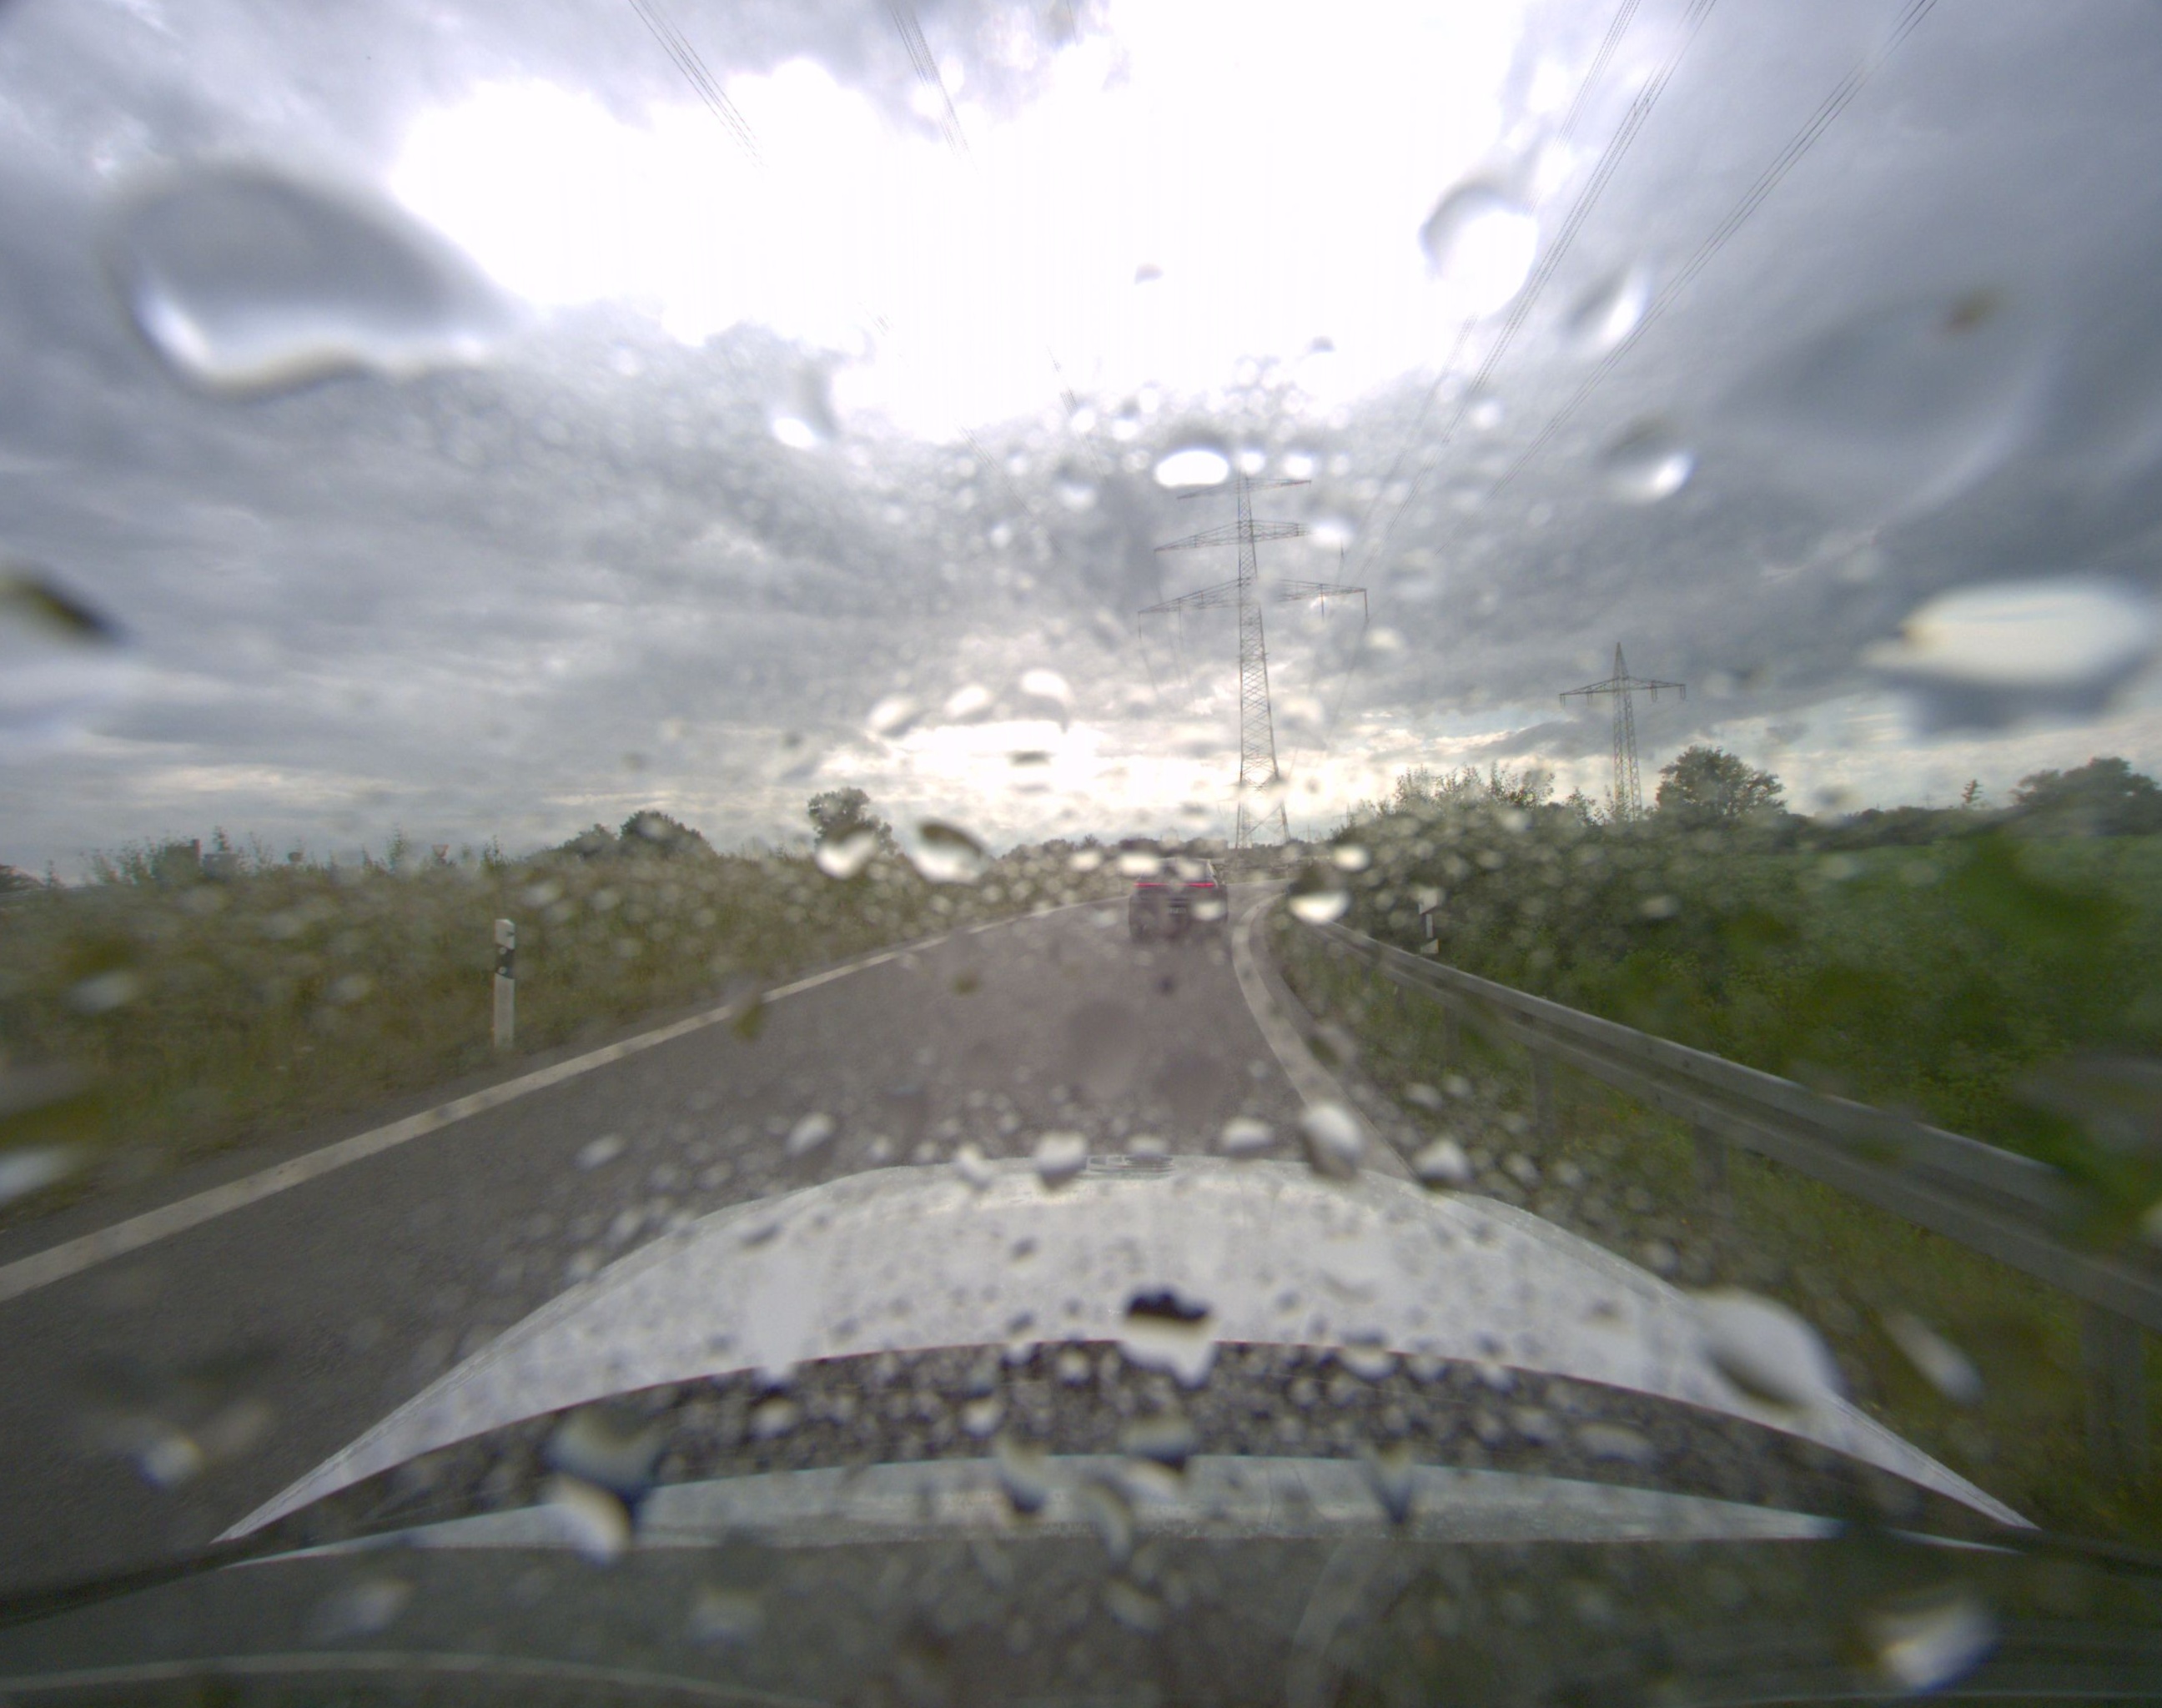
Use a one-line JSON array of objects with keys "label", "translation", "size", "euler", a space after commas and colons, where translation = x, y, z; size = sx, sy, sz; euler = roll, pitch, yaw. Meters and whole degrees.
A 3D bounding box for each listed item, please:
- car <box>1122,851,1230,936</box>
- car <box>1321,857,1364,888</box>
[{"label": "car", "translation": [2.155, 0.729, 17.367], "size": [1.981, 1.566, 4.161], "euler": [0, 0, 11]}, {"label": "car", "translation": [18.829, 1.311, 58.459], "size": [2.101, 2.018, 5.566], "euler": [-3, -2, 25]}]
